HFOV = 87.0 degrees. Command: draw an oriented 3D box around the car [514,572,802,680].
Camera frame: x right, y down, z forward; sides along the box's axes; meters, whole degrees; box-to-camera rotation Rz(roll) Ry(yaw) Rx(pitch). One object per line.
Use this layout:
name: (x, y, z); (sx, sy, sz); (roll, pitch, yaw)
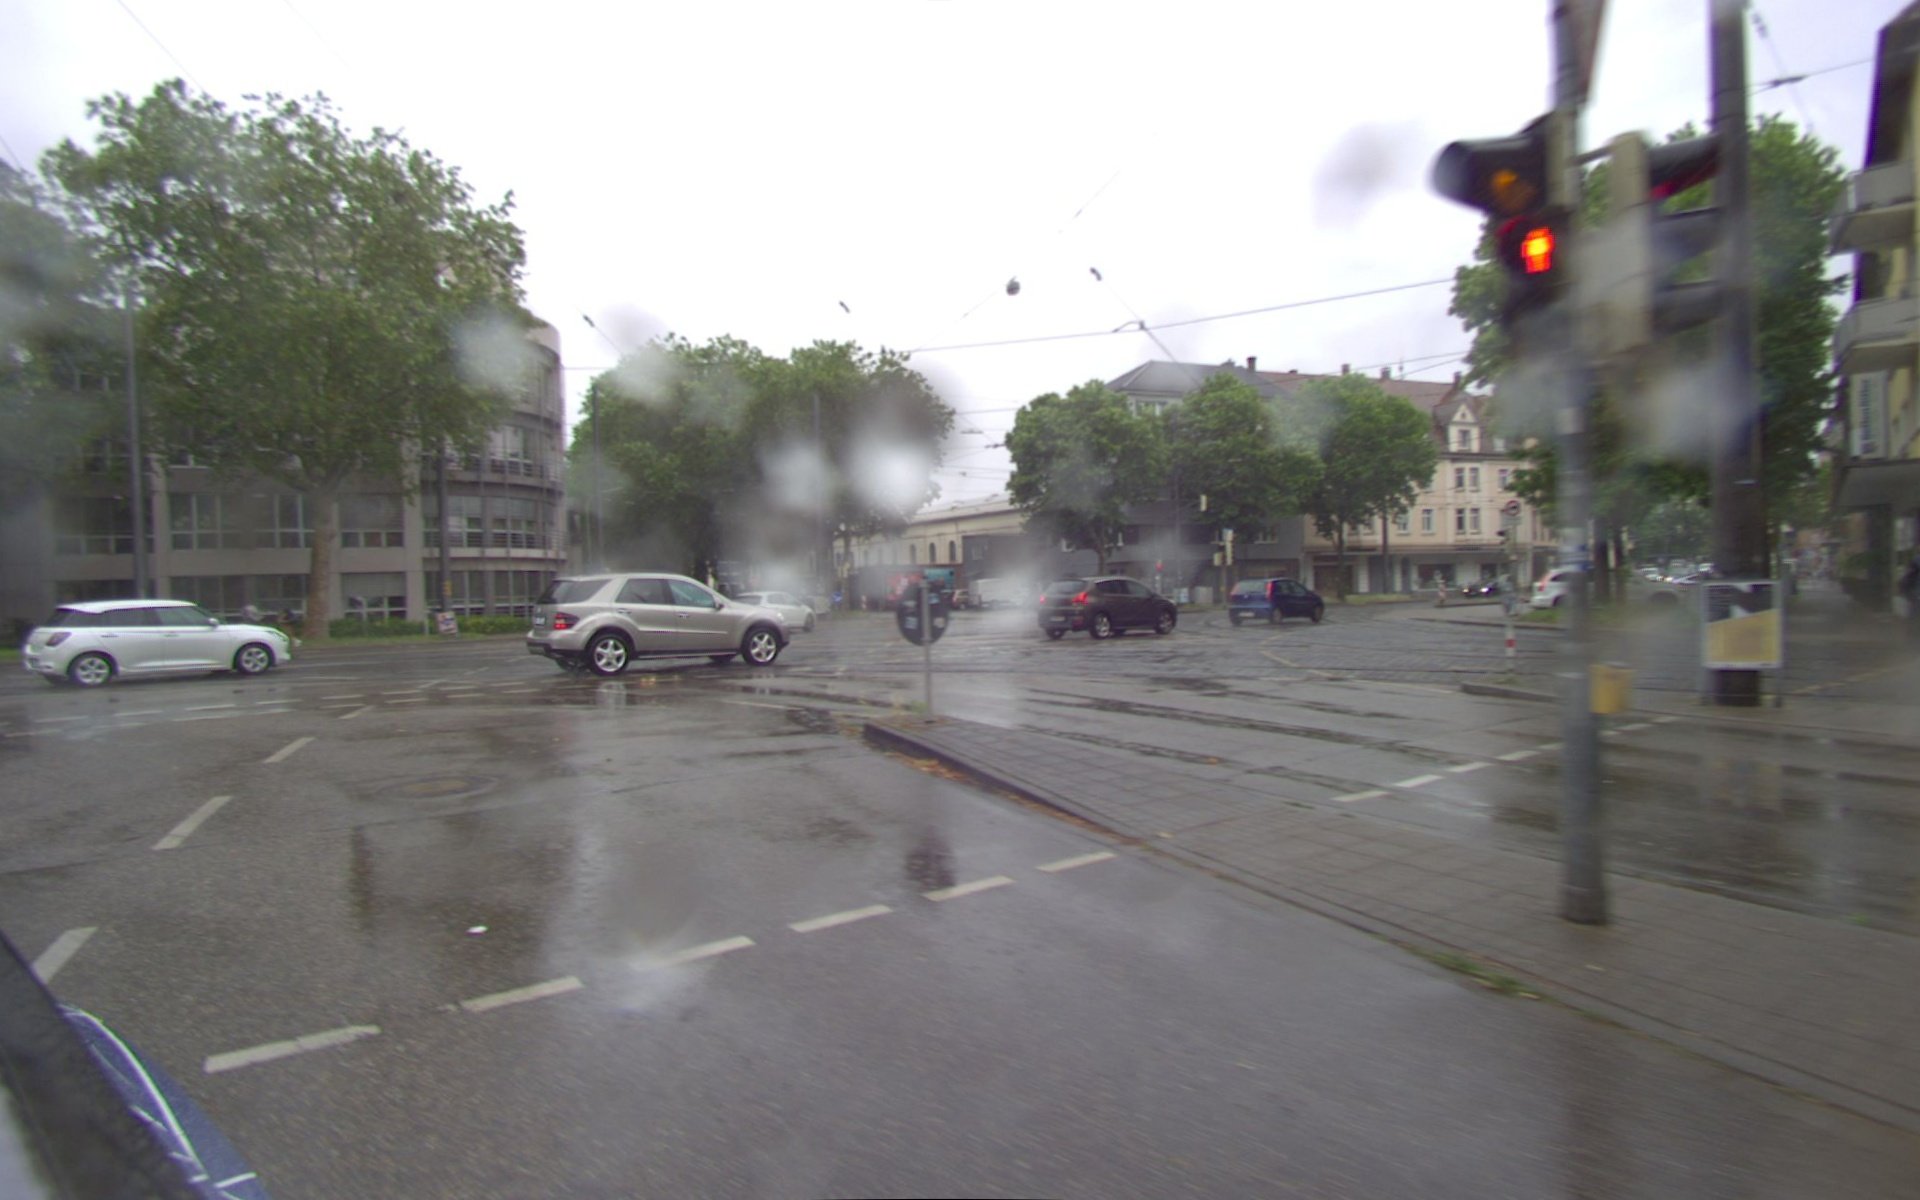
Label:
car: (-5.371, 0.364, 18.335); (4.606, 1.659, 1.918); (-2, 2, -39)

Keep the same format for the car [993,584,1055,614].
car: (4.643, -0.057, 73.372); (3.932, 2.029, 2.006); (-2, 1, -30)

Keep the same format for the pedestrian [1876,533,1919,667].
pedestrian: (12.574, -0.010, 12.999); (0.999, 1.690, 0.817); (-2, 1, -21)

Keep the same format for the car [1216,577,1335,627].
car: (10.096, 0.081, 32.299); (3.771, 1.470, 1.892); (2, -1, -40)

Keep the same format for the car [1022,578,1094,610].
car: (6.608, -0.443, 68.135); (4.323, 2.028, 2.074); (-2, 2, -17)

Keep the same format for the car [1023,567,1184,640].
car: (3.790, 0.034, 26.360); (4.123, 1.722, 1.811); (-2, 2, -38)

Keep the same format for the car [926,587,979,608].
car: (-0.656, -0.230, 84.480); (3.931, 1.626, 2.007); (-2, 1, -22)

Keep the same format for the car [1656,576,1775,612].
car: (35.507, -0.294, 47.665); (3.958, 1.625, 1.993); (1, 1, 12)

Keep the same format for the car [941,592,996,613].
car: (0.672, 0.197, 80.437); (3.930, 1.626, 2.007); (1, 0, -22)

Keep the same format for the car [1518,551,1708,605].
car: (20.942, -0.689, 32.621); (4.978, 1.485, 1.976); (-2, 1, 35)

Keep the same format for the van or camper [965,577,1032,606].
van or camper: (2.842, -0.642, 75.372); (4.574, 2.091, 2.007); (-1, 1, -24)

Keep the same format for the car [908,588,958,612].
car: (-2.328, -0.038, 87.264); (3.933, 1.943, 2.005); (-1, 2, -13)

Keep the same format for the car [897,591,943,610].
car: (-3.687, 0.065, 93.445); (3.932, 1.668, 1.792); (0, 1, -17)

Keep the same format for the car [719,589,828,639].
car: (-6.334, 0.432, 34.802); (1.799, 1.548, 4.162); (-1, 1, 21)

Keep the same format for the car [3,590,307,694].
car: (-14.637, 0.677, 18.606); (1.804, 1.599, 4.025); (-1, 1, 36)
